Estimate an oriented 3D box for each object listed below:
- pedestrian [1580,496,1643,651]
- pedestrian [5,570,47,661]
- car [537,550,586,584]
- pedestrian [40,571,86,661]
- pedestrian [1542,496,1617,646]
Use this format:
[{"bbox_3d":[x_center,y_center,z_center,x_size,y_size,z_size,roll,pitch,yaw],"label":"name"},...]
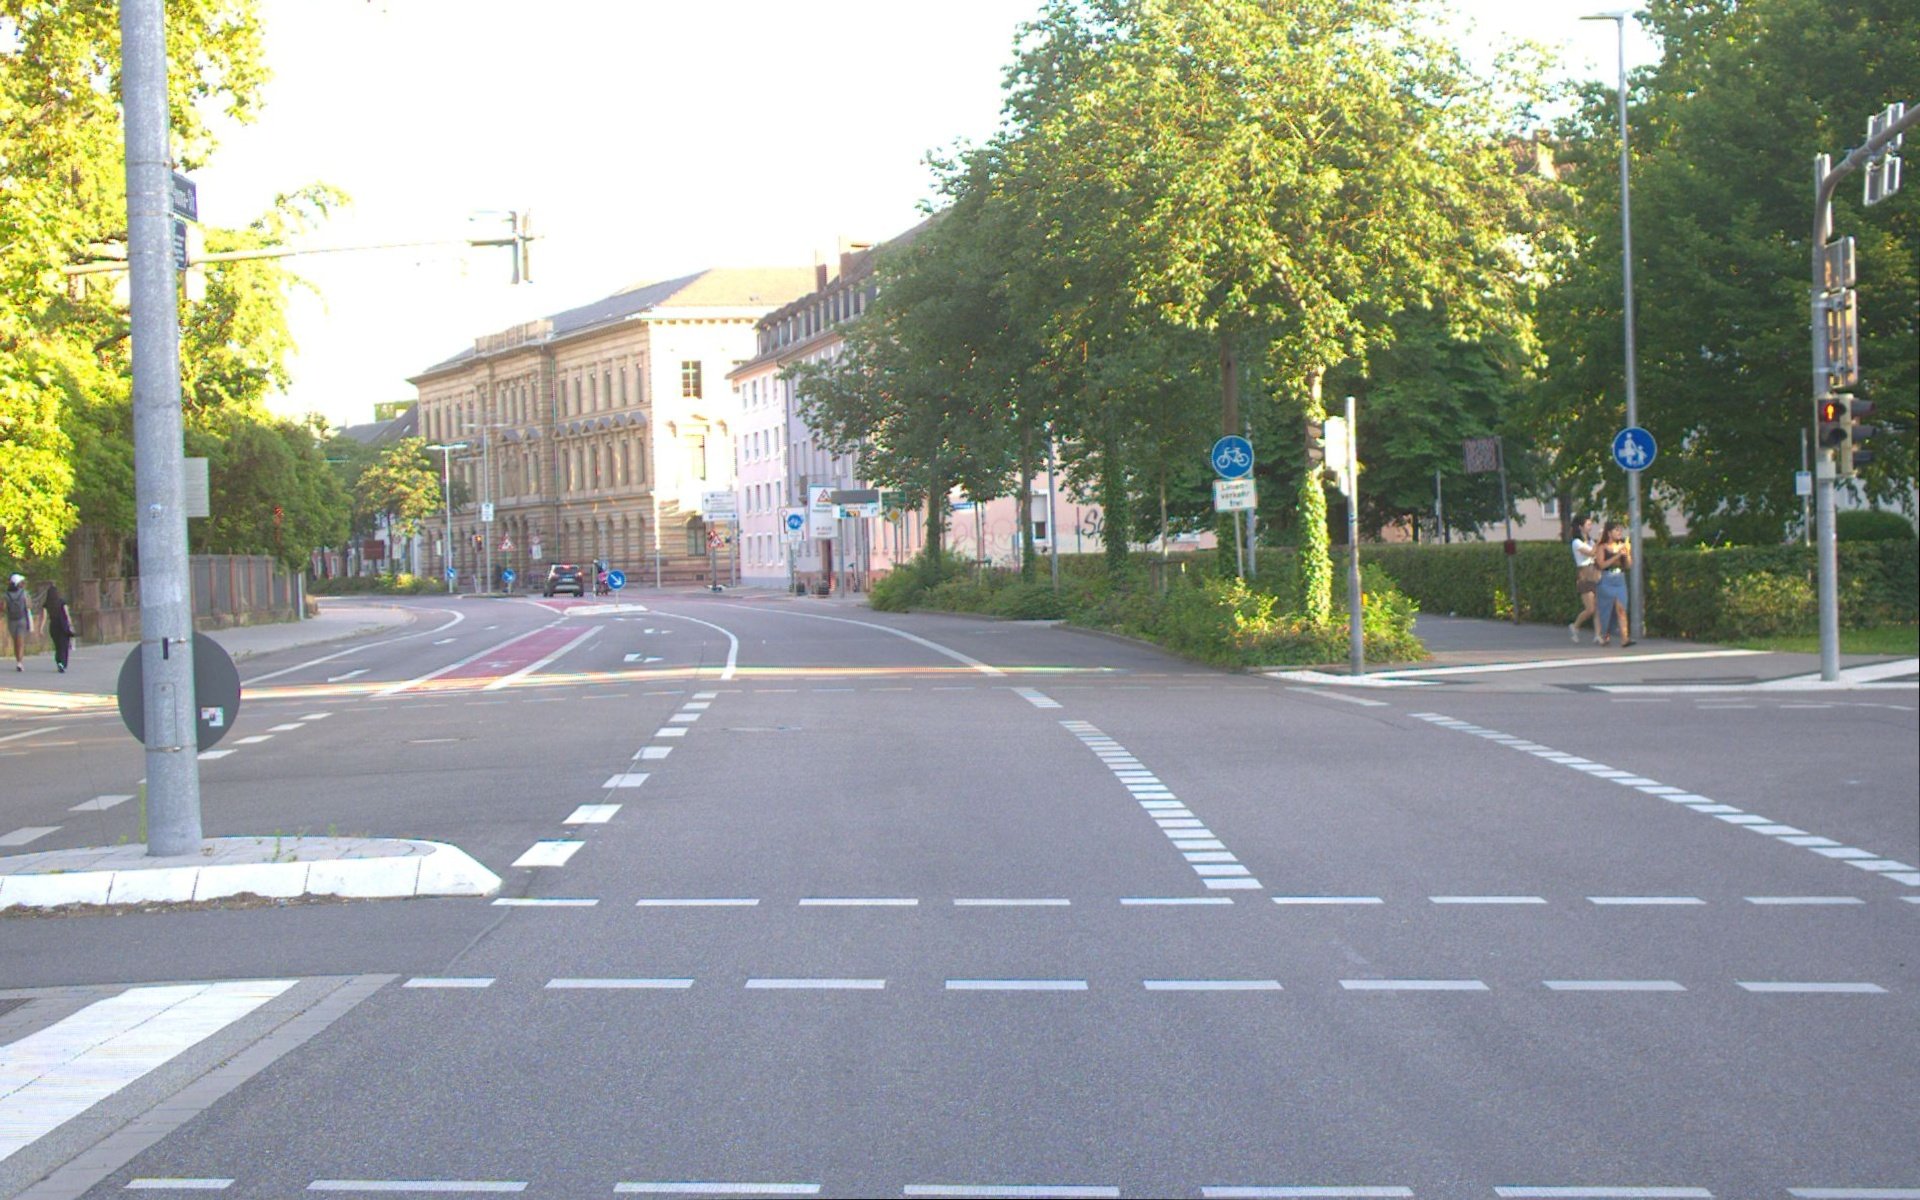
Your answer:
[{"bbox_3d":[8.537,-0.353,45.068,0.635,2.007,0.720,-1,1,-4],"label":"pedestrian"},{"bbox_3d":[-16.542,0.276,60.912,0.535,1.591,0.590,-2,1,-1],"label":"pedestrian"},{"bbox_3d":[-19.680,-1.636,169.720,1.819,1.583,4.001,-3,1,-14],"label":"car"},{"bbox_3d":[-15.890,0.281,60.902,0.599,1.568,0.646,-2,1,-1],"label":"pedestrian"},{"bbox_3d":[8.360,-0.392,46.436,0.870,2.007,0.722,0,1,-1],"label":"pedestrian"}]
